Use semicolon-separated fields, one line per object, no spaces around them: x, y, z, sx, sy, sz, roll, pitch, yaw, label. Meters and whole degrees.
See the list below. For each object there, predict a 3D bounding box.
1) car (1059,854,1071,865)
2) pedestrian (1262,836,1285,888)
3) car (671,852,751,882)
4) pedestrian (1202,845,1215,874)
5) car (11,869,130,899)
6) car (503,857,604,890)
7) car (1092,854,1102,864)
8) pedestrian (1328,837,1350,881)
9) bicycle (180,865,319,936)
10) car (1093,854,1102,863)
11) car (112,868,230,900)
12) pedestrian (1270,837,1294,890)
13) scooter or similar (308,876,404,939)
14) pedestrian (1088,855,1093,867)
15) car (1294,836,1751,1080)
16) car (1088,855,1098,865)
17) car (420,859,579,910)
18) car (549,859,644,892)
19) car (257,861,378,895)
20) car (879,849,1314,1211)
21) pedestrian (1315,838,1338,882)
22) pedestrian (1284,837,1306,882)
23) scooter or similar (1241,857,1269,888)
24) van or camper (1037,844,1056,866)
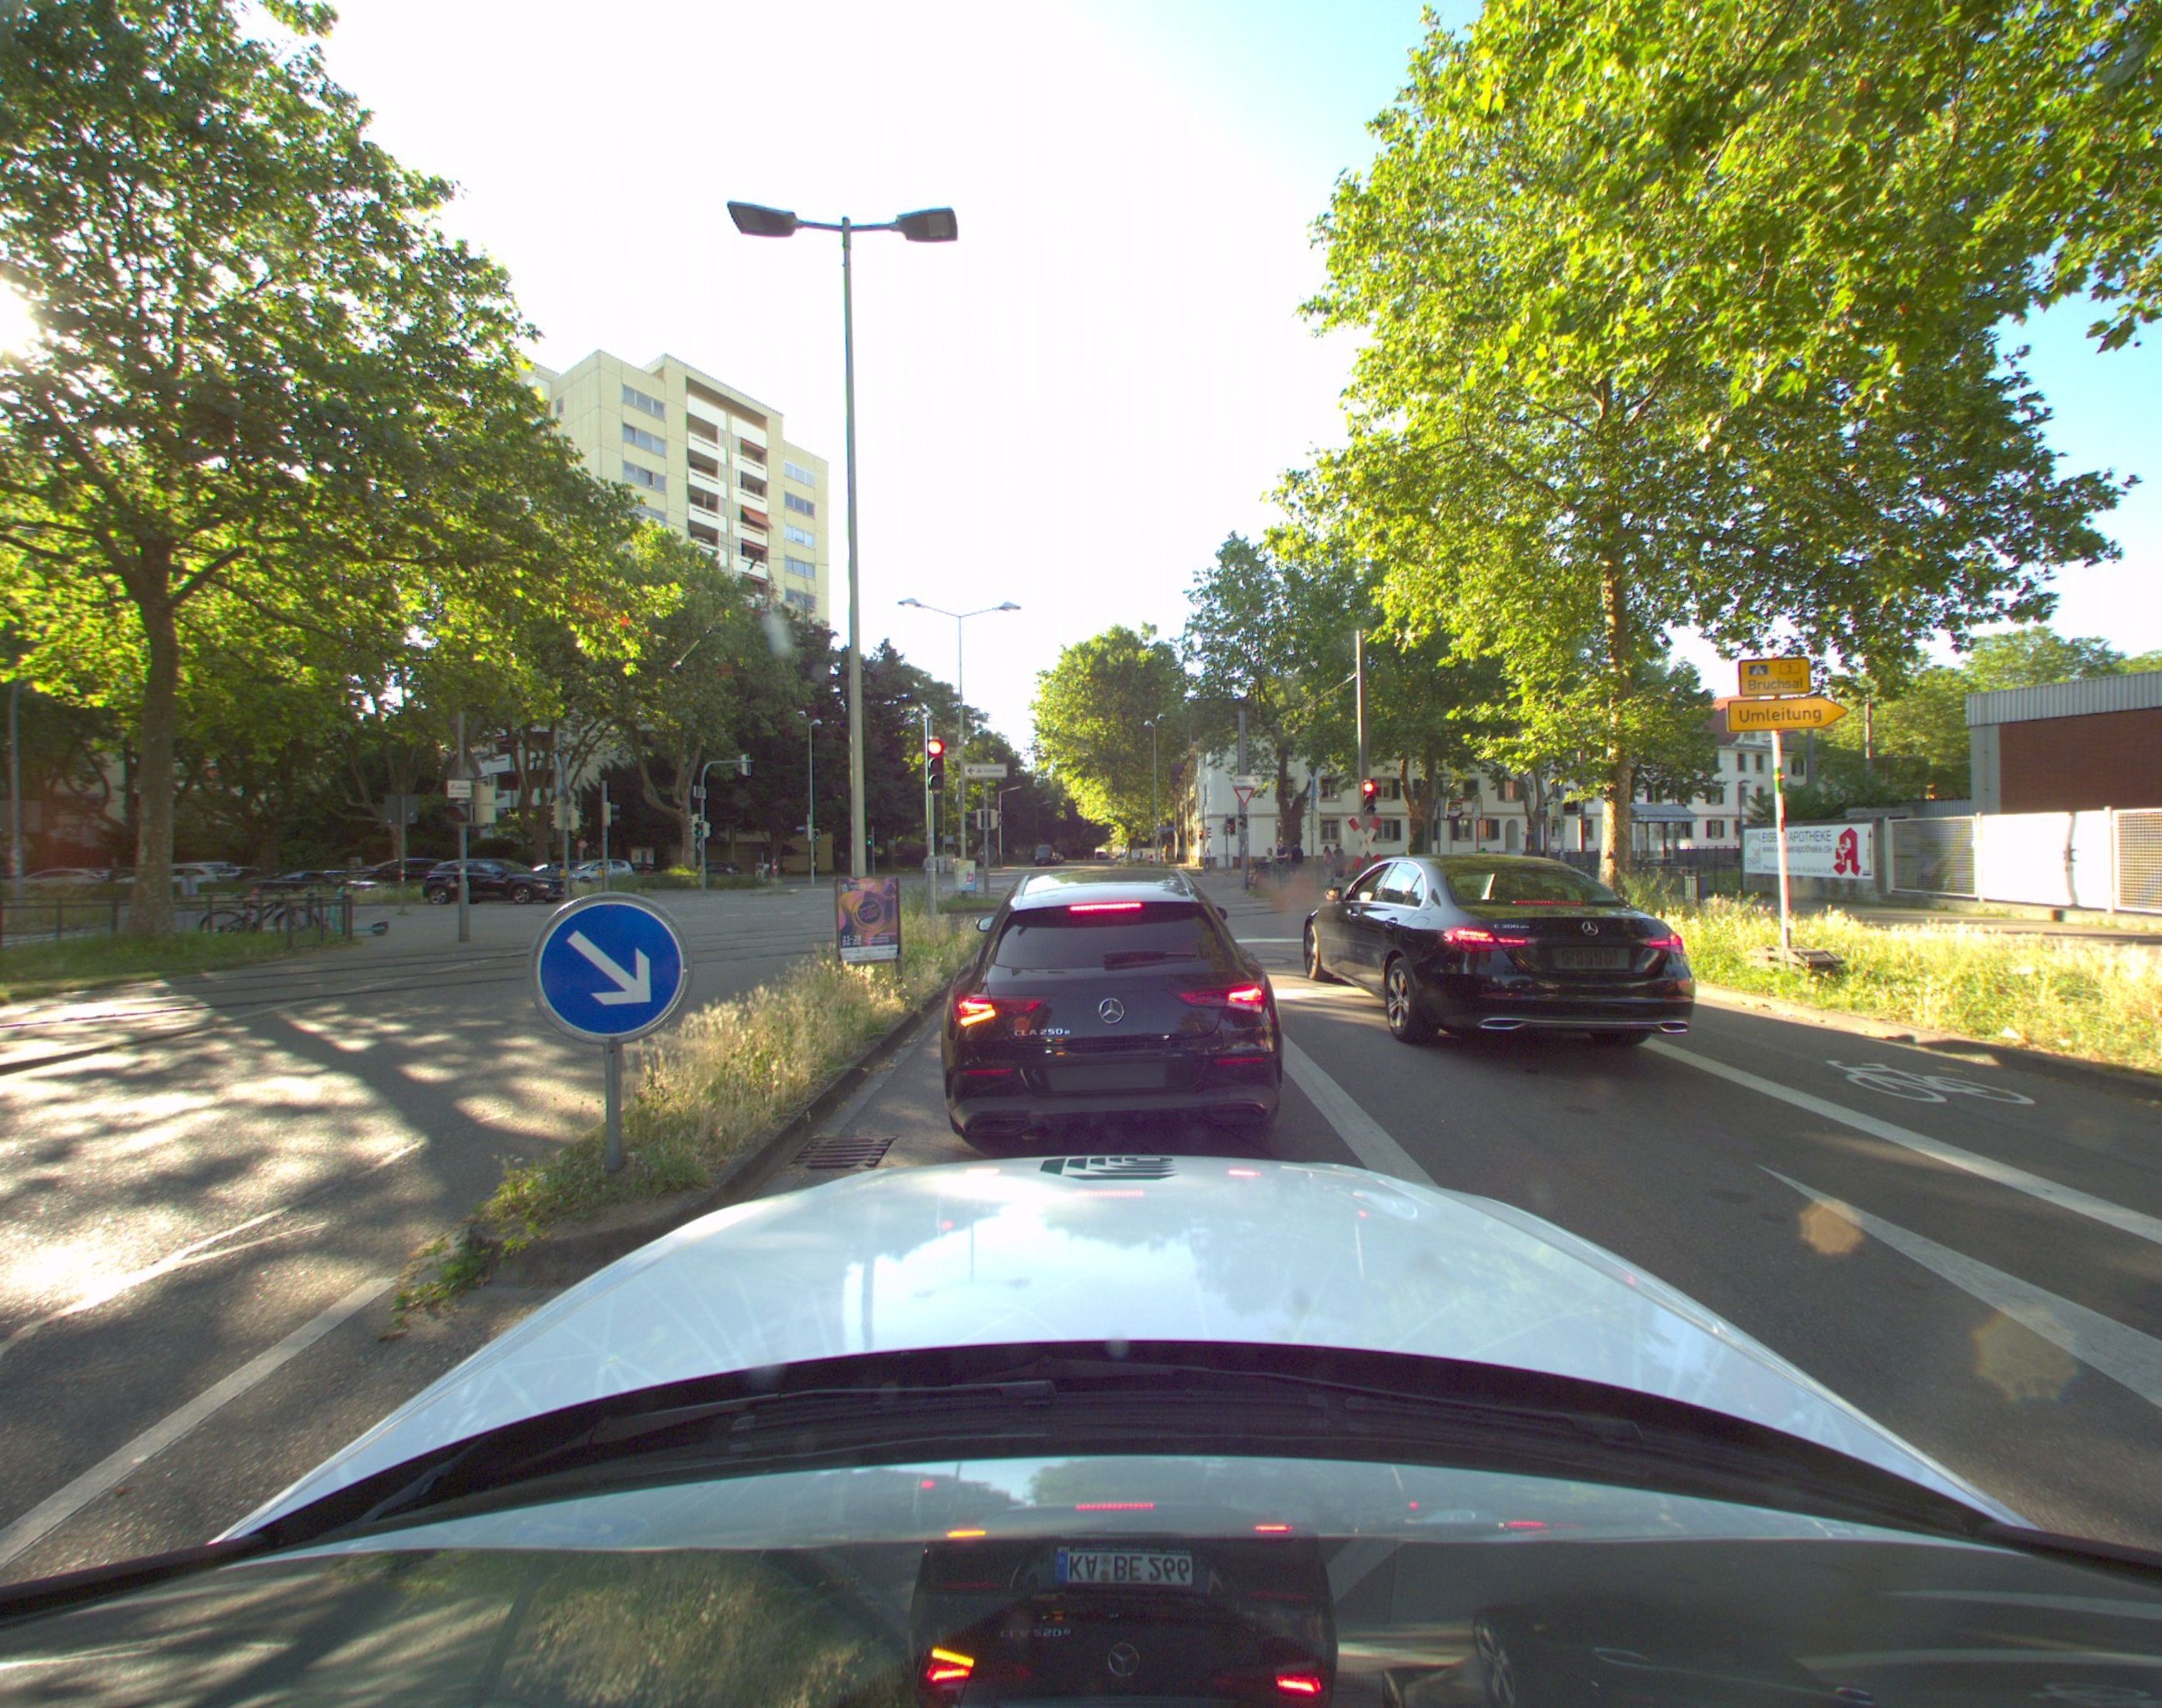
-2.473;0.832;126.675;1.727;1.765;3.972;0;-1;2;car
7.289;0.298;30.858;0.681;1.918;0.707;0;-1;-2;pedestrian
-22.639;0.784;49.923;3.963;1.774;2.005;0;-1;9;car
8.458;0.347;54.026;0.703;1.918;0.838;0;-1;-2;pedestrian
-57.100;1.659;46.071;1.716;1.596;4.025;-1;-1;32;car
-27.219;0.972;42.159;1.716;1.596;4.025;-1;-1;32;car
2.913;0.986;150.540;1.727;1.765;4.020;0;-1;2;car
11.574;0.231;36.538;0.703;1.918;0.838;0;-1;-2;pedestrian
-15.952;0.865;15.669;1.845;1.307;0.380;0;-1;-26;bicycle
3.244;0.908;158.622;1.727;1.765;4.020;0;-1;2;car
-49.160;1.582;44.069;1.716;1.596;4.025;-1;-1;32;car
7.413;0.343;30.082;0.680;1.918;0.707;0;-1;0;pedestrian
-15.092;1.093;16.981;0.408;1.239;1.450;-1;-1;40;scooter or similar
1.536;1.056;130.199;0.704;1.918;0.837;0;-1;-8;pedestrian
3.356;0.612;7.339;1.882;1.490;4.384;0;2;2;car
2.102;1.013;145.735;1.727;1.765;4.020;0;-1;2;car
-19.384;0.996;27.309;3.981;1.596;1.735;0;-1;-5;car
-24.923;1.084;42.025;1.716;1.596;3.831;-1;-1;32;car
-37.413;1.141;39.996;1.716;1.596;4.025;-1;-1;32;car
0.177;0.754;5.537;1.881;1.450;4.004;0;2;3;car
10.723;0.259;35.558;0.703;1.918;0.838;0;-1;-2;pedestrian
9.279;0.252;35.305;0.703;1.918;0.838;0;-1;-2;pedestrian
6.508;0.684;30.418;0.826;1.104;0.808;0;-1;-4;scooter or similar
-4.226;0.130;100.045;1.986;2.541;4.653;0;-1;2;van or camper
